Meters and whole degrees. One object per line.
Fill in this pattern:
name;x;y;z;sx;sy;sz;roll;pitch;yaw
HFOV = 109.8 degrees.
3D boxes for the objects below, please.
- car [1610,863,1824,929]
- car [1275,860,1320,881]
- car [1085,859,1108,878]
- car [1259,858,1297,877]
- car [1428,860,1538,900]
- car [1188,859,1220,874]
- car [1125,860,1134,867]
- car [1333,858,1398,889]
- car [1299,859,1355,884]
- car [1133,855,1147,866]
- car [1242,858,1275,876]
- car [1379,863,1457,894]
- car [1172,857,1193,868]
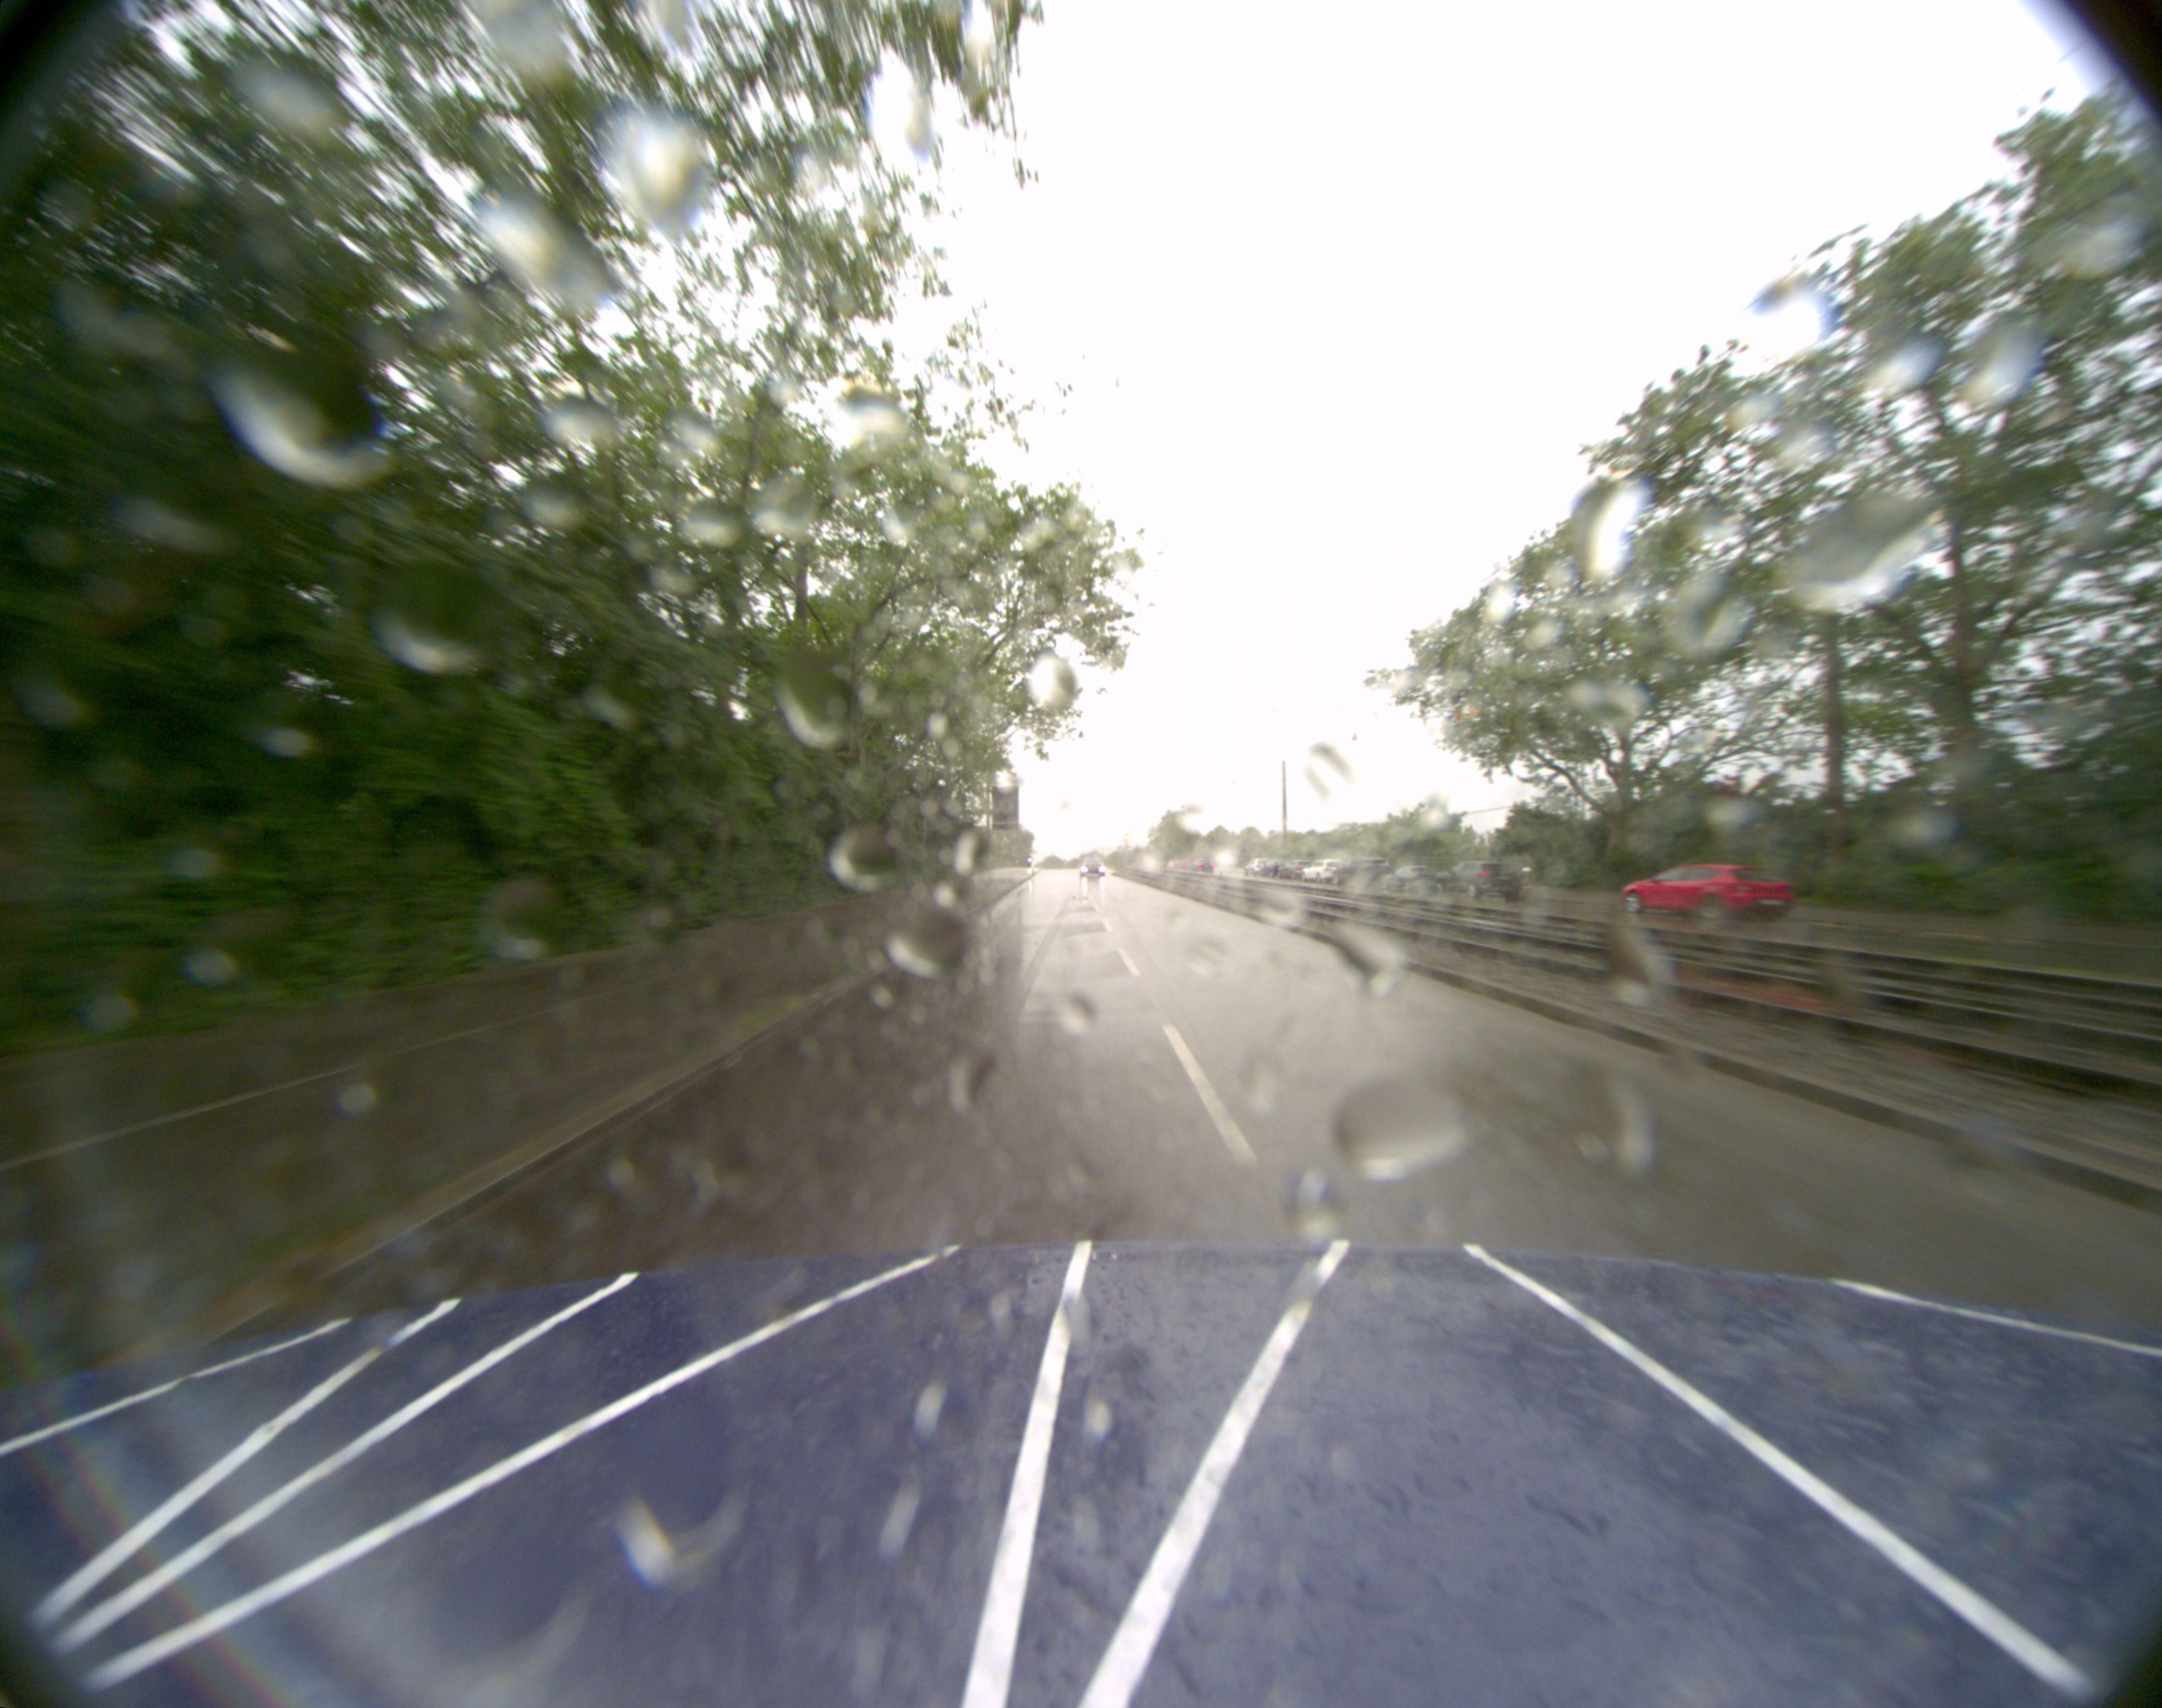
car;17.068;1.048;20.749;2.039;1.543;4.383;1;0;-3
car;15.755;1.174;55.503;1.653;1.423;4.130;1;0;-7
car;1.240;1.120;60.549;1.727;1.425;3.851;-1;0;0
car;15.749;1.075;60.917;1.653;1.423;3.924;1;0;-5
car;16.682;1.035;31.818;2.039;1.543;4.383;1;0;-4
car;12.229;1.235;75.742;2.039;1.458;4.917;1;0;-4
car;11.921;2.407;187.987;1.998;1.706;4.000;-1;1;1
car;16.100;1.051;43.248;1.891;1.640;4.368;1;0;-2
car;15.938;1.113;49.450;1.891;1.502;4.577;1;0;-3
car;10.518;1.131;135.544;1.999;1.706;3.999;-1;1;0
car;15.413;1.107;66.179;1.653;1.423;4.151;1;0;-5
car;16.417;1.181;37.232;1.891;1.371;3.964;1;0;-2
car;14.327;1.134;107.262;2.039;1.458;4.917;-1;0;-4
